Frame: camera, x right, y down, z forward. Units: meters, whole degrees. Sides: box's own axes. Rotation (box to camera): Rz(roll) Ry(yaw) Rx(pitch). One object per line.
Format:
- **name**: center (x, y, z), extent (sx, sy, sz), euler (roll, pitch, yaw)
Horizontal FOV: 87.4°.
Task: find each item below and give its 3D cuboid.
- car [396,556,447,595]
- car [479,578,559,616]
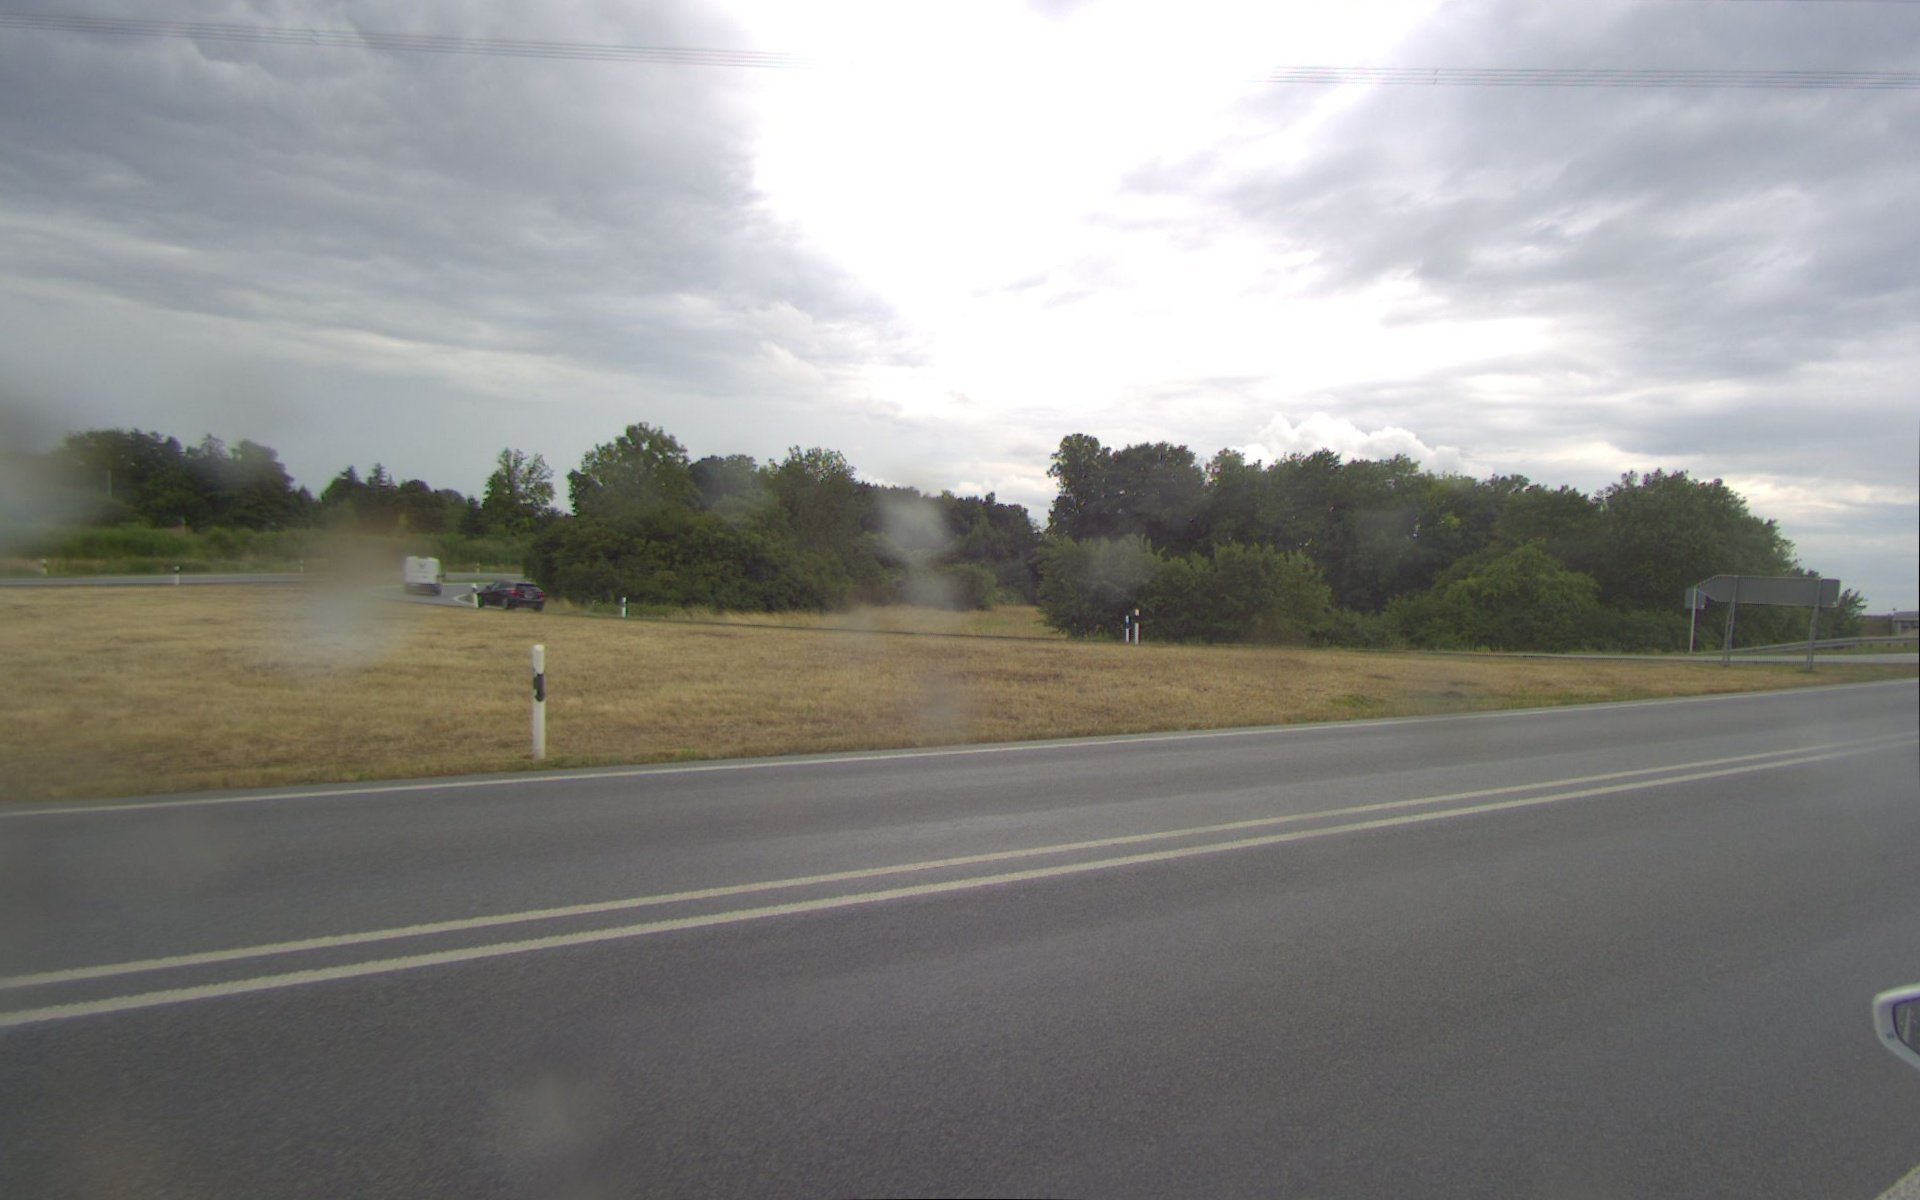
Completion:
- **car**: center (-36.791, -1.663, 68.549), extent (2.418, 2.422, 5.416), euler (3, 0, -35)
- **car**: center (-21.550, -0.154, 49.006), extent (3.855, 1.625, 1.979), euler (3, 0, 39)
